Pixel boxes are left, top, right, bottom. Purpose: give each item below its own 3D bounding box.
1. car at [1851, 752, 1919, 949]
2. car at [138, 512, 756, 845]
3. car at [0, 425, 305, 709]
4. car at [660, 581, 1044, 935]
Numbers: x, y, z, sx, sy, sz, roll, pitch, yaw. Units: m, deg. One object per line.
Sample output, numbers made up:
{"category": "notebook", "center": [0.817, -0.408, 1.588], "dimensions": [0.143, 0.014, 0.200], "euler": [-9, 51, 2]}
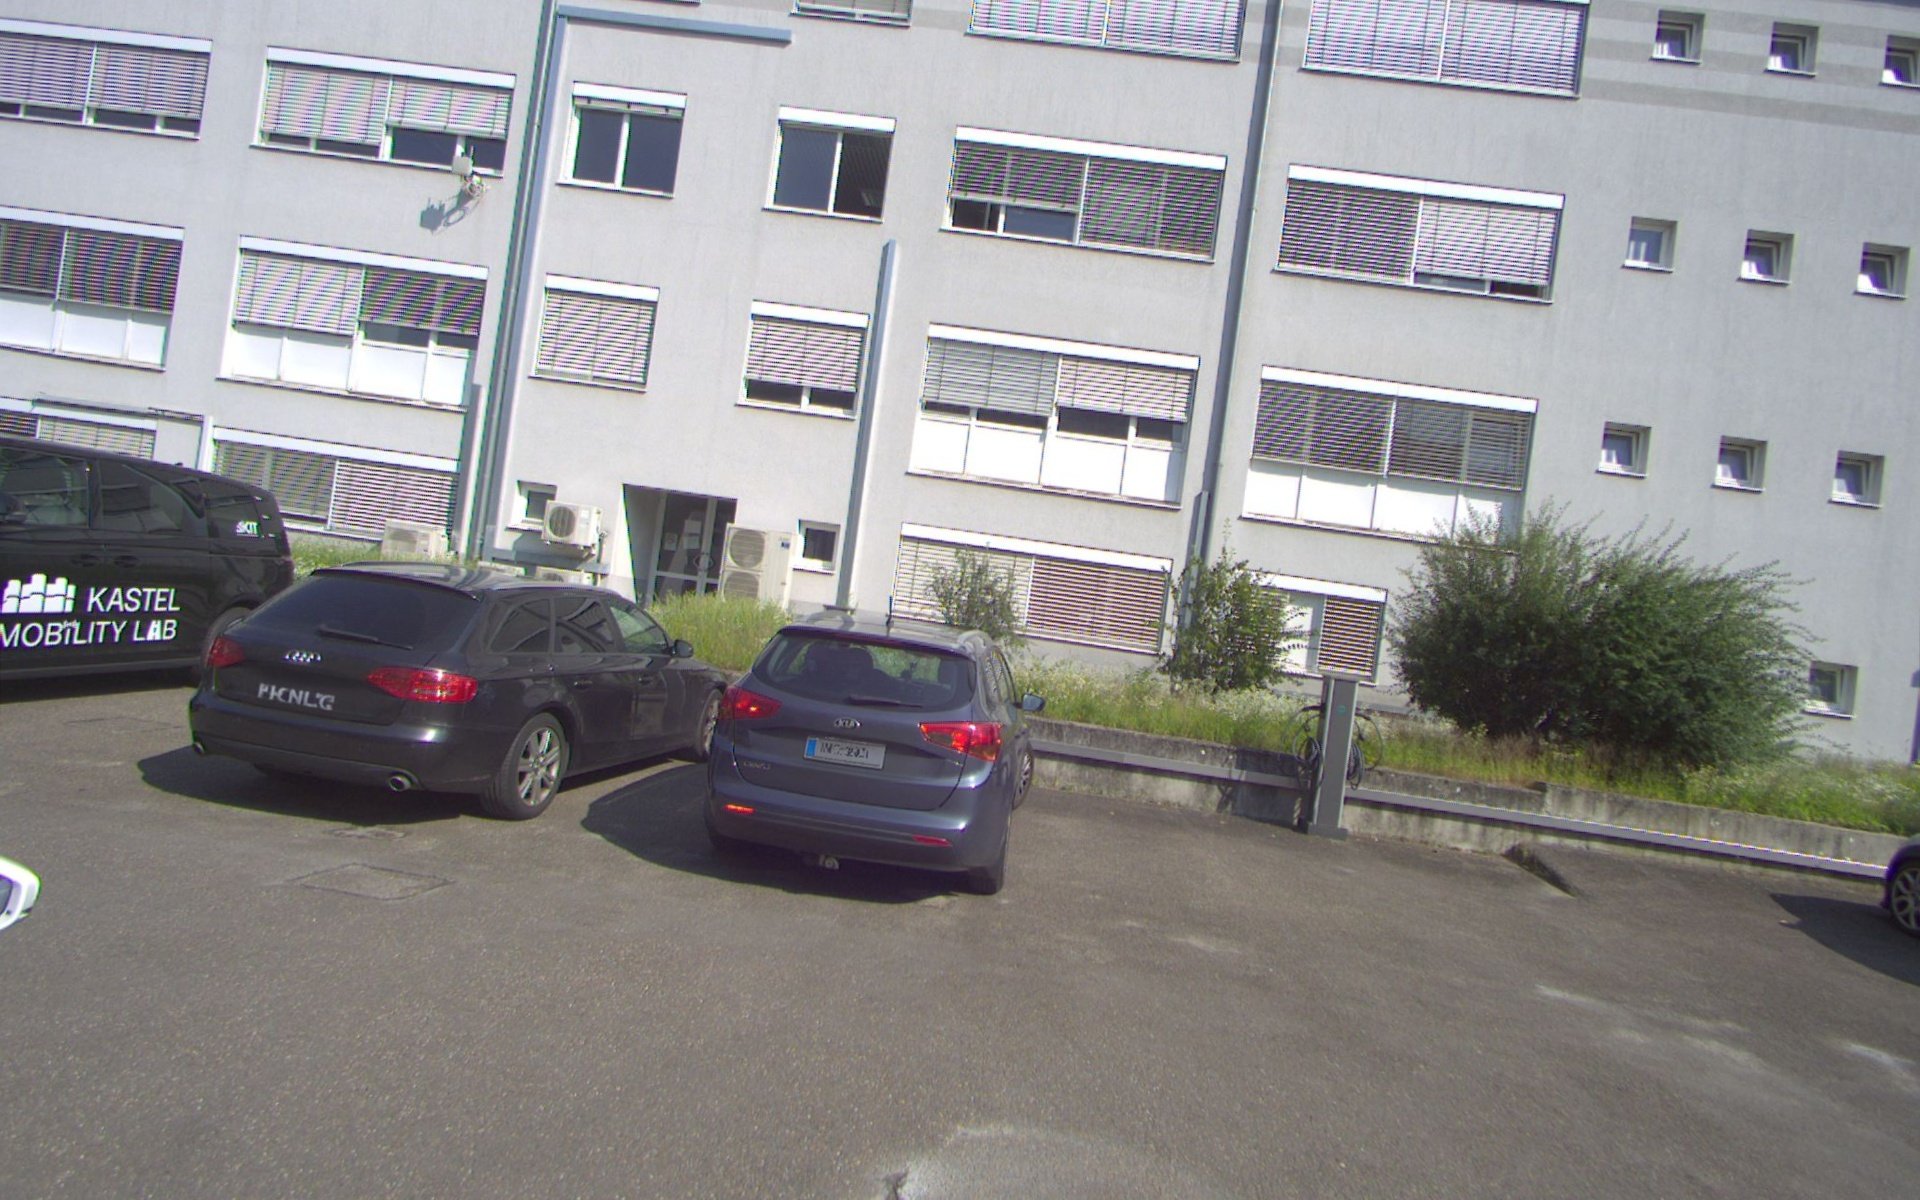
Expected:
{"category": "car", "center": [8.157, 2.040, 6.563], "dimensions": [1.627, 1.454, 3.585], "euler": [8, -1, 7]}
{"category": "car", "center": [-3.082, 0.473, 7.233], "dimensions": [1.658, 1.454, 4.250], "euler": [8, -1, 8]}
{"category": "car", "center": [-7.273, -0.325, 7.356], "dimensions": [1.880, 1.880, 4.350], "euler": [8, -1, 1]}
{"category": "car", "center": [-0.379, 0.842, 7.011], "dimensions": [1.709, 1.495, 4.063], "euler": [8, -1, 5]}
